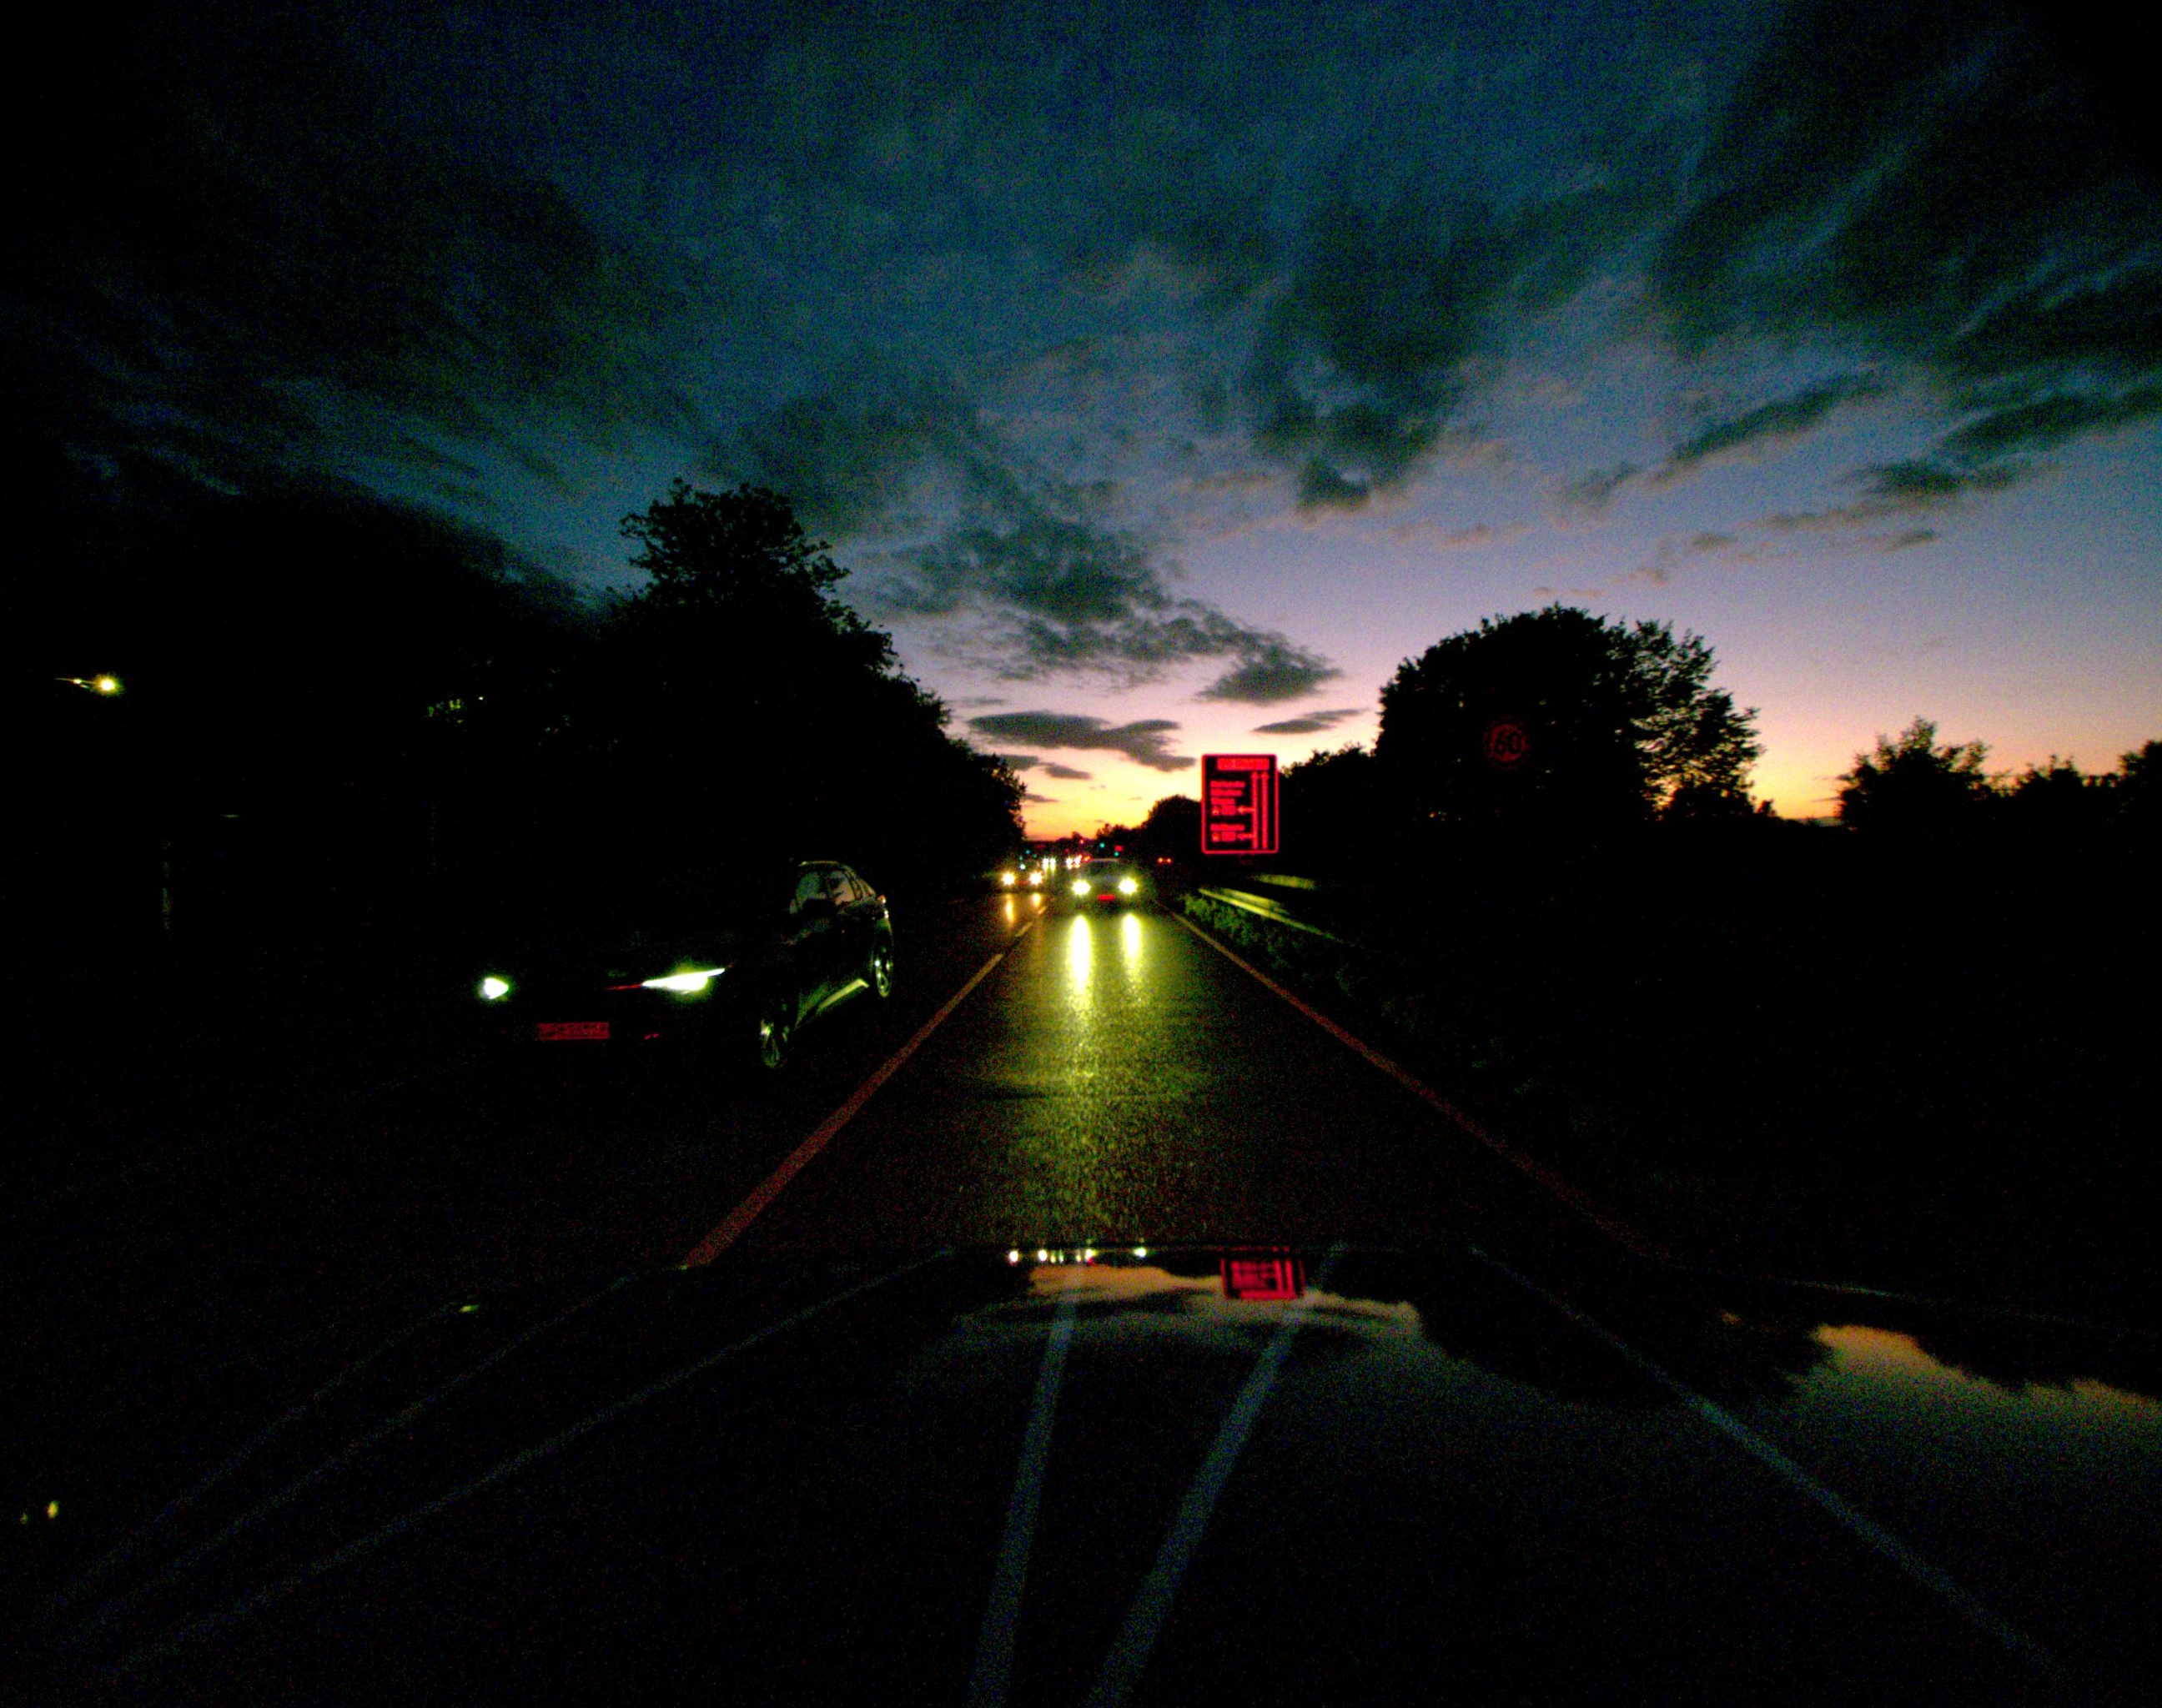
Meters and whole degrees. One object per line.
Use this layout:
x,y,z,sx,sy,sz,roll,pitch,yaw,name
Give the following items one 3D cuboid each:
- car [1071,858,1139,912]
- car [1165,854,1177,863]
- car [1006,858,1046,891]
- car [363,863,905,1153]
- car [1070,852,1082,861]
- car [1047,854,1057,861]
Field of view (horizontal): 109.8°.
0.692,0.897,23.899,1.901,1.472,4.514,-2,0,0,car
15.986,0.785,134.820,1.797,1.661,4.505,-1,0,10,car
-2.676,0.974,37.621,1.624,1.460,3.871,-2,0,1,car
-3.183,0.940,6.838,1.998,1.600,4.711,-2,0,1,car
-0.941,0.375,141.159,1.999,1.602,4.501,-1,0,-1,car
-6.174,0.696,161.378,1.999,1.423,4.501,0,0,-1,car
